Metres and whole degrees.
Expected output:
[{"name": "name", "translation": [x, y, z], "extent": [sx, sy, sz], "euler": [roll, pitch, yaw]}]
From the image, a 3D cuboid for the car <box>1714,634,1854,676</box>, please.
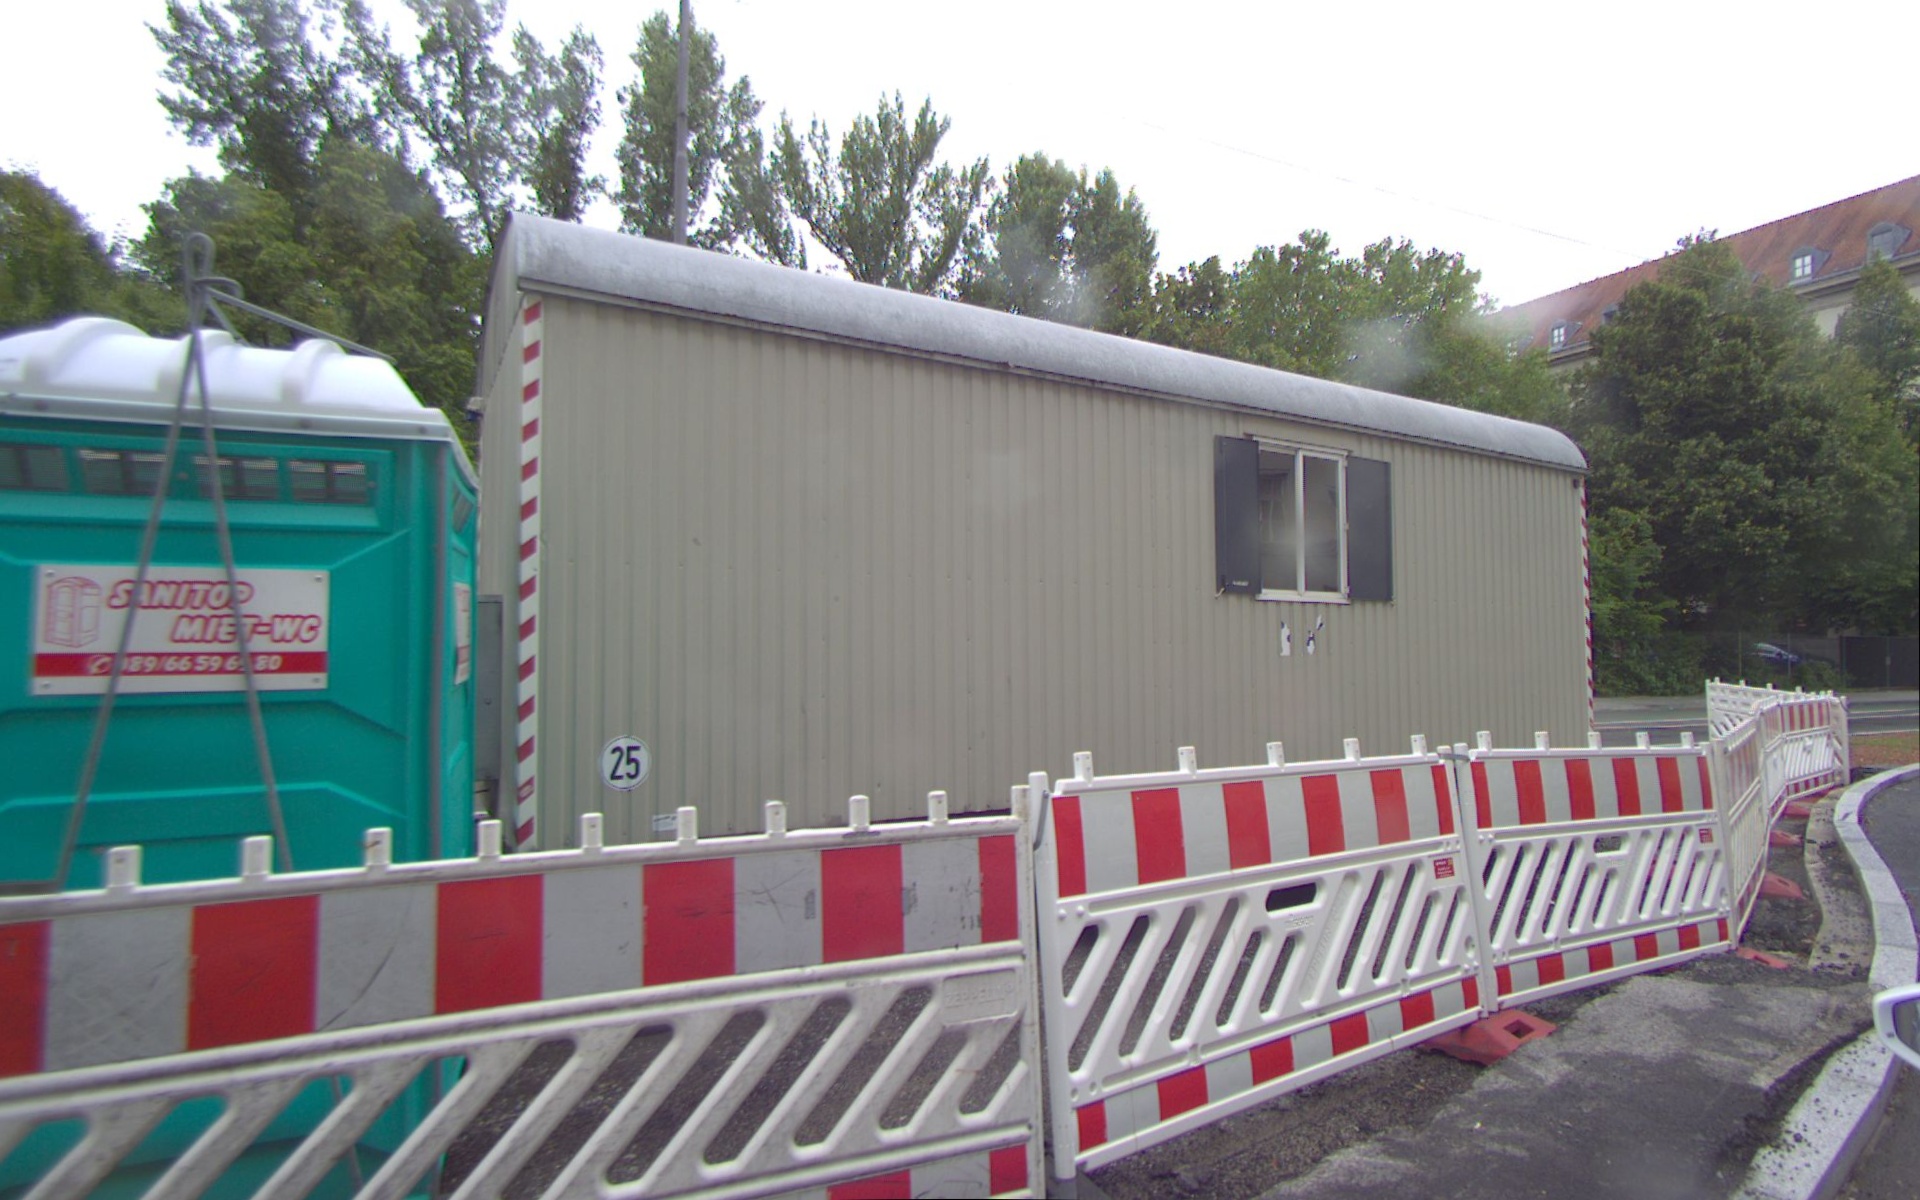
[{"name": "car", "translation": [34.888, 2.294, 42.657], "extent": [1.780, 1.670, 4.251], "euler": [1, -2, -24]}]
